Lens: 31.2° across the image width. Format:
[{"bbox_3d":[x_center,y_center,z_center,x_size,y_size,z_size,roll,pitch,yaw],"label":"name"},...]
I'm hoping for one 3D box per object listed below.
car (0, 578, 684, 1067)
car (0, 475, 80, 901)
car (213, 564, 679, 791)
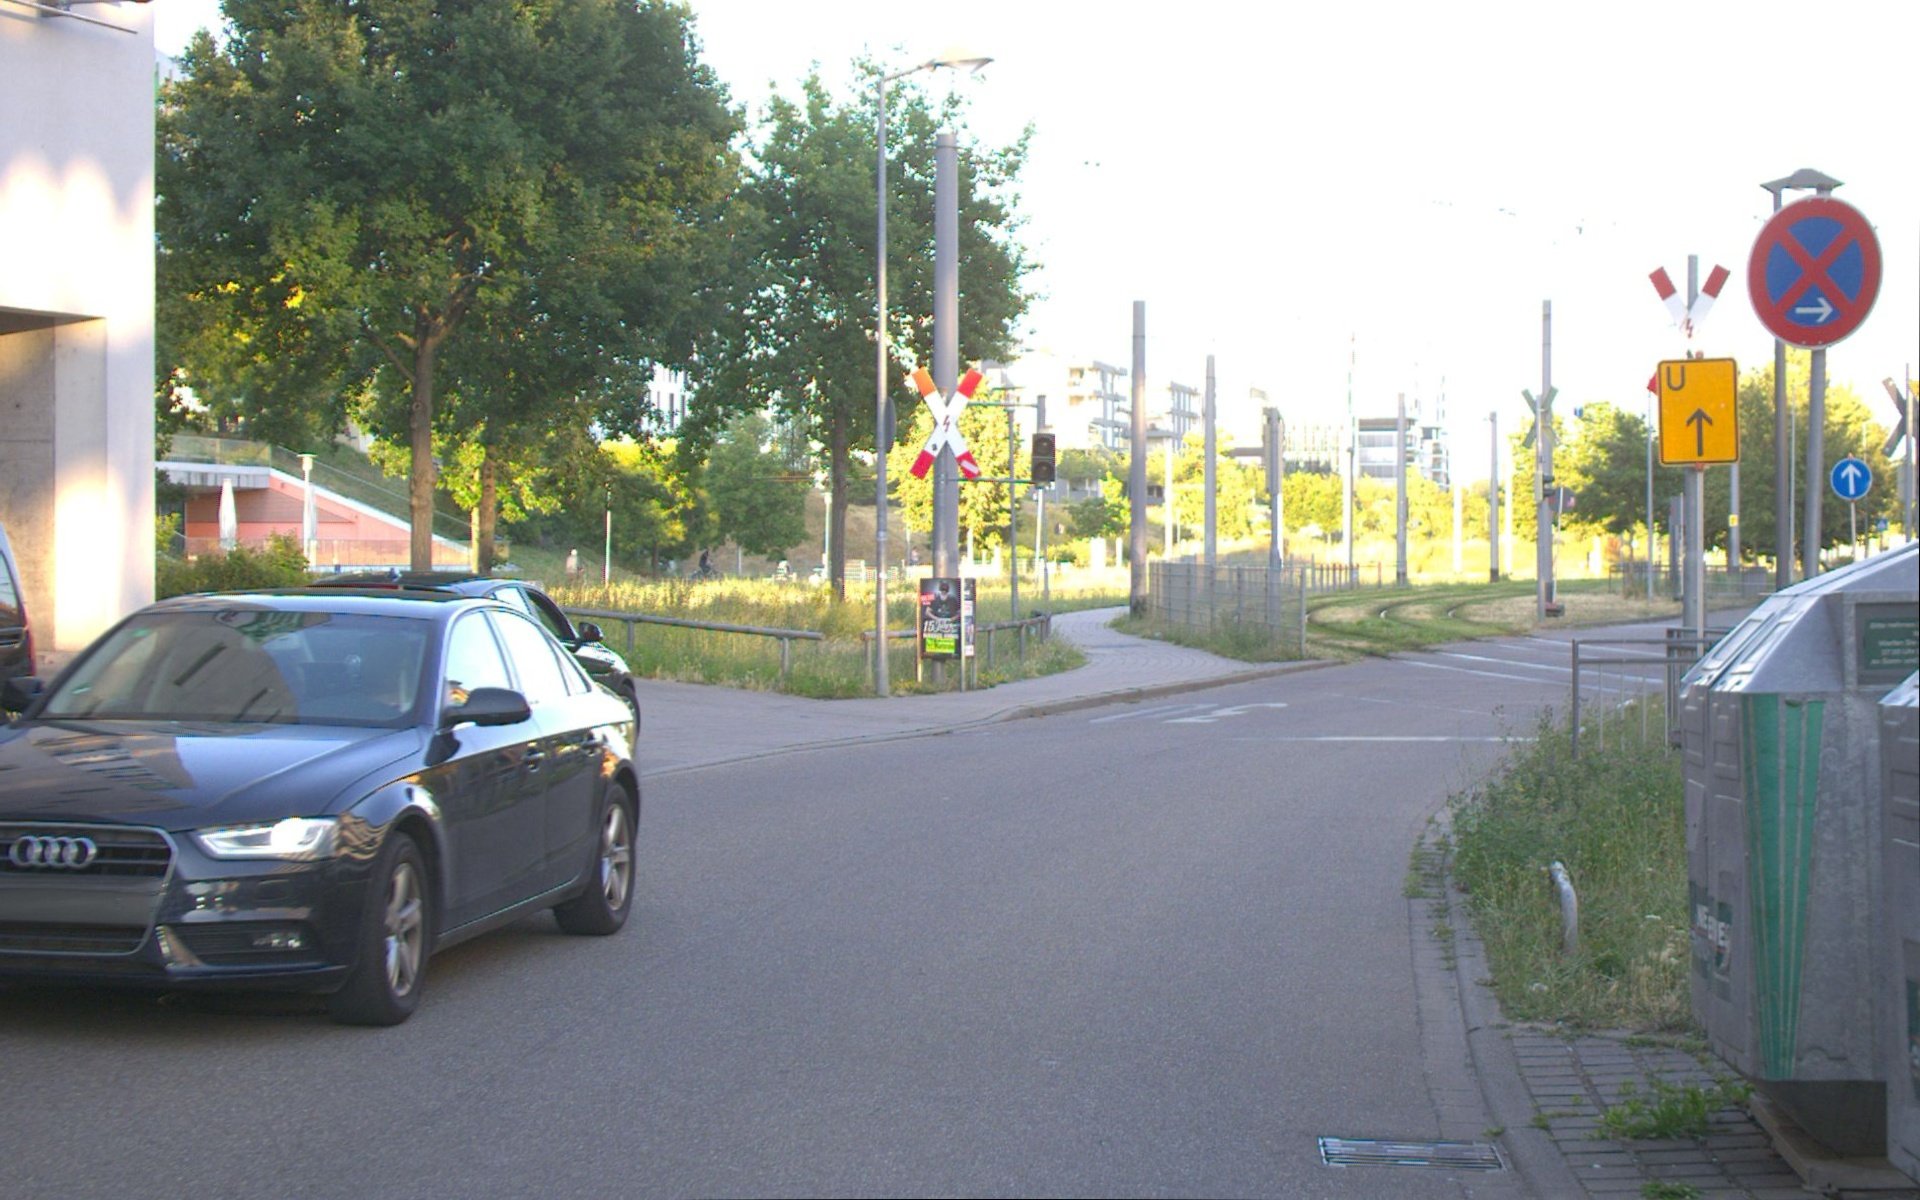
[{"bbox_3d":[-2.452,0.650,12.645,1.779,1.417,4.514,1,1,10],"label":"car"},{"bbox_3d":[-5.120,0.356,13.078,1.758,1.792,4.461,2,1,9],"label":"car"},{"bbox_3d":[-3.529,0.474,24.502,1.945,1.378,4.397,2,1,10],"label":"car"}]
